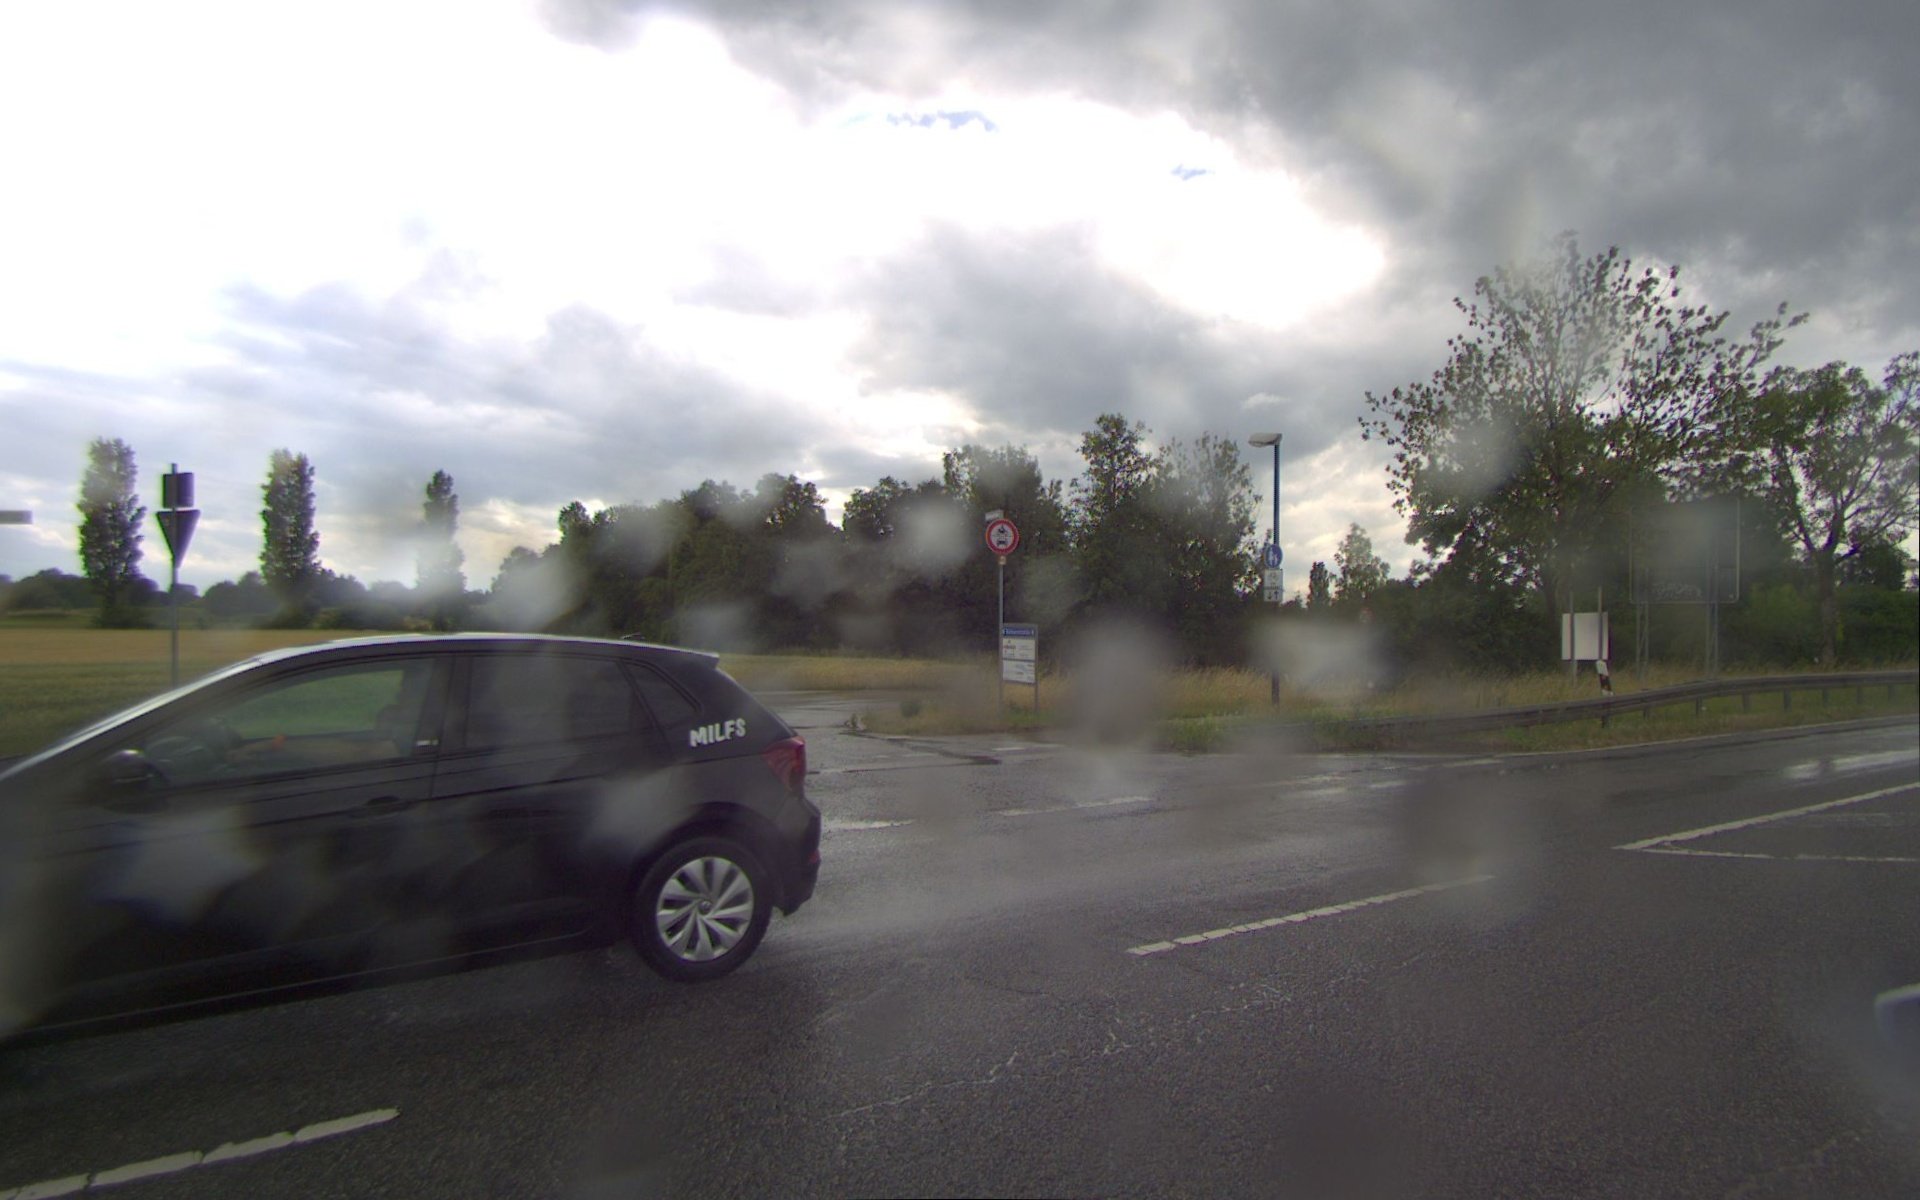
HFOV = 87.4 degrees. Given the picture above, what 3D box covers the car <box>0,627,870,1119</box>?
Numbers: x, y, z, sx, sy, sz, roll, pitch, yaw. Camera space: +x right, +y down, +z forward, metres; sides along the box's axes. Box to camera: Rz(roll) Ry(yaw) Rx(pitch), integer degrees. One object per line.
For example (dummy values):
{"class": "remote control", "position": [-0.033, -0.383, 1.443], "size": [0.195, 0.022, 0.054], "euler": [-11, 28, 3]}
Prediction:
{"class": "car", "position": [-2.434, 0.847, 4.177], "size": [3.772, 1.424, 1.702], "euler": [1, -3, -33]}
